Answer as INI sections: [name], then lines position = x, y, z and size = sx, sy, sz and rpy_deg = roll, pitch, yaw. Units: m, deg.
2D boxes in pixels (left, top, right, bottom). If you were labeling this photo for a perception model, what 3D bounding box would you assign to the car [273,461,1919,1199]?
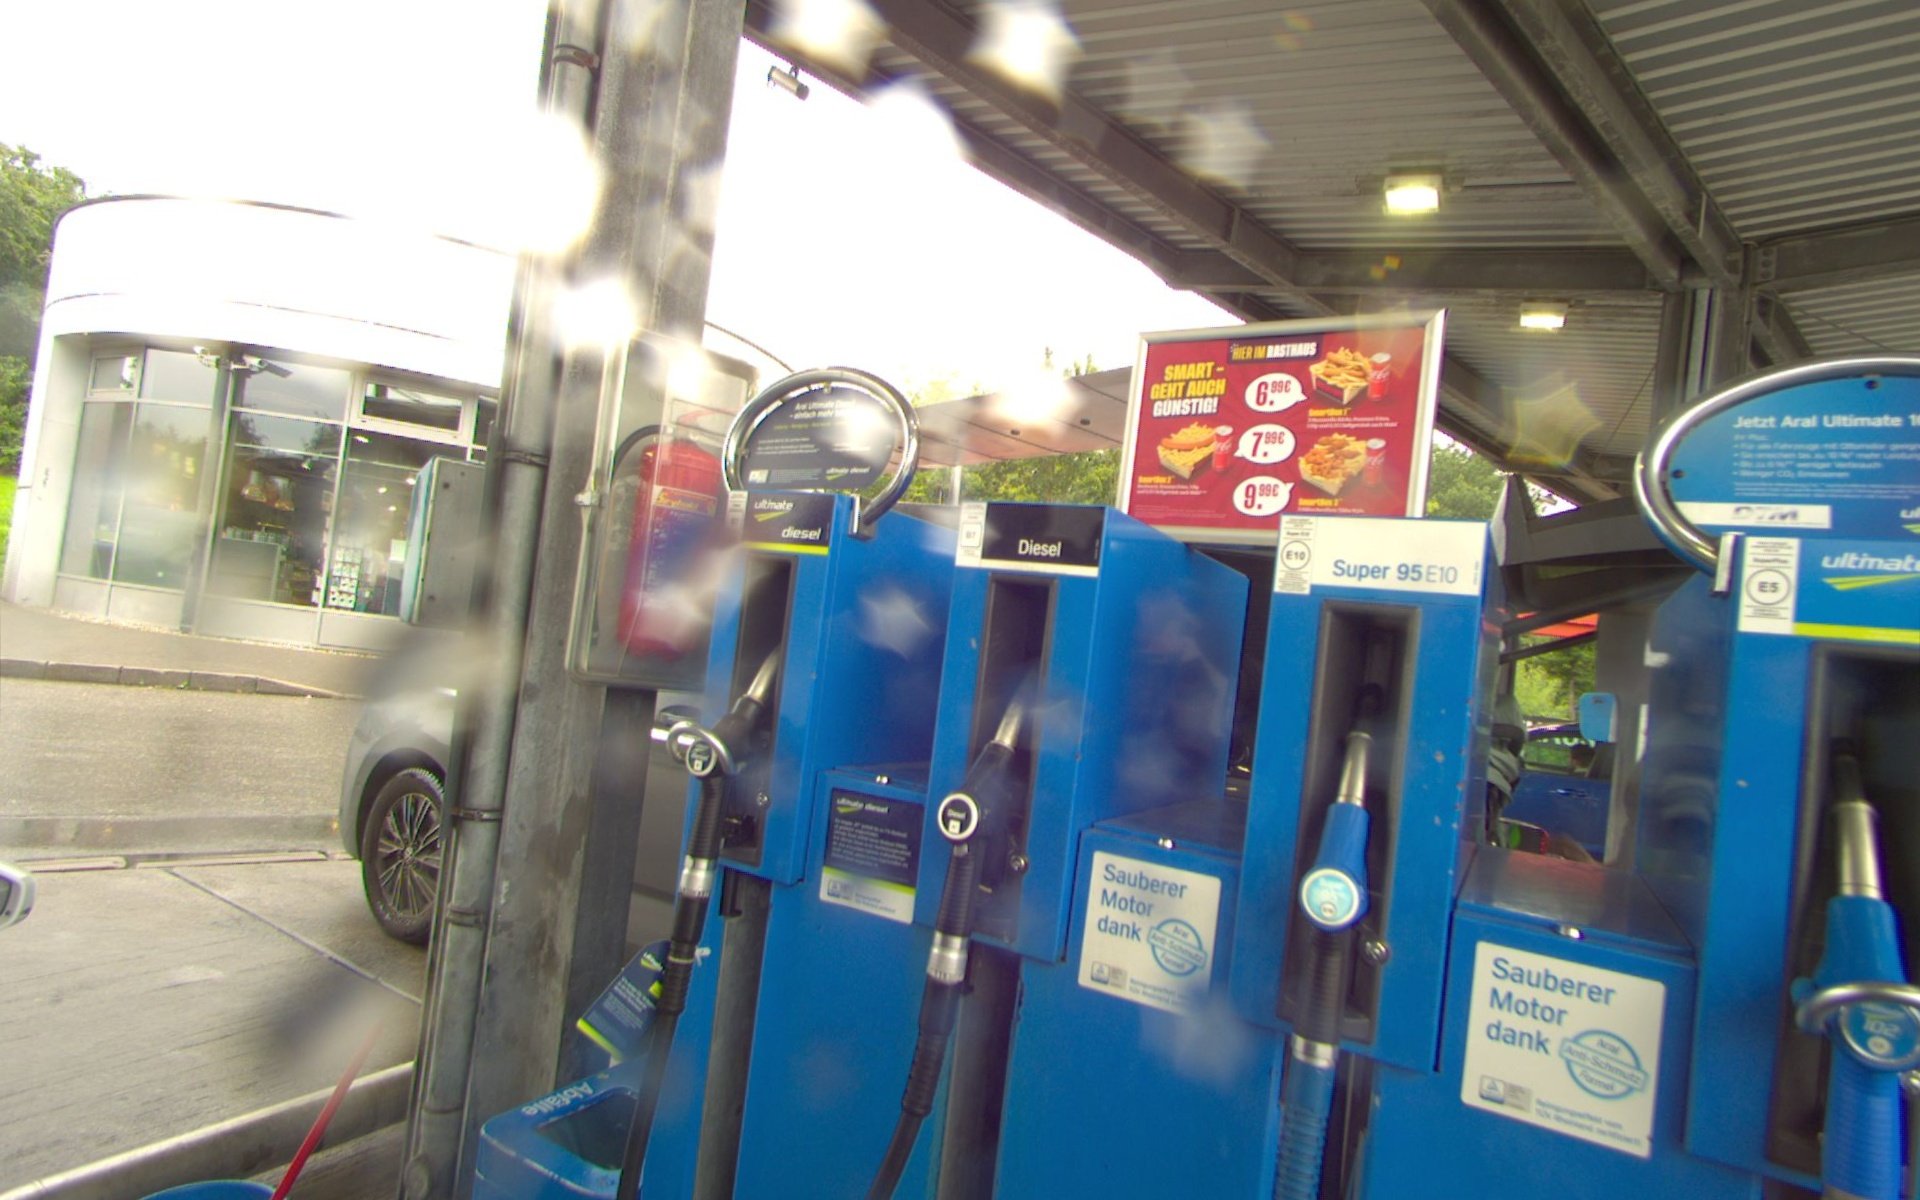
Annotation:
[car]
position = -0.148, 0.642, 3.676
size = 5.055, 1.819, 1.865
rpy_deg = 6, -2, 32
